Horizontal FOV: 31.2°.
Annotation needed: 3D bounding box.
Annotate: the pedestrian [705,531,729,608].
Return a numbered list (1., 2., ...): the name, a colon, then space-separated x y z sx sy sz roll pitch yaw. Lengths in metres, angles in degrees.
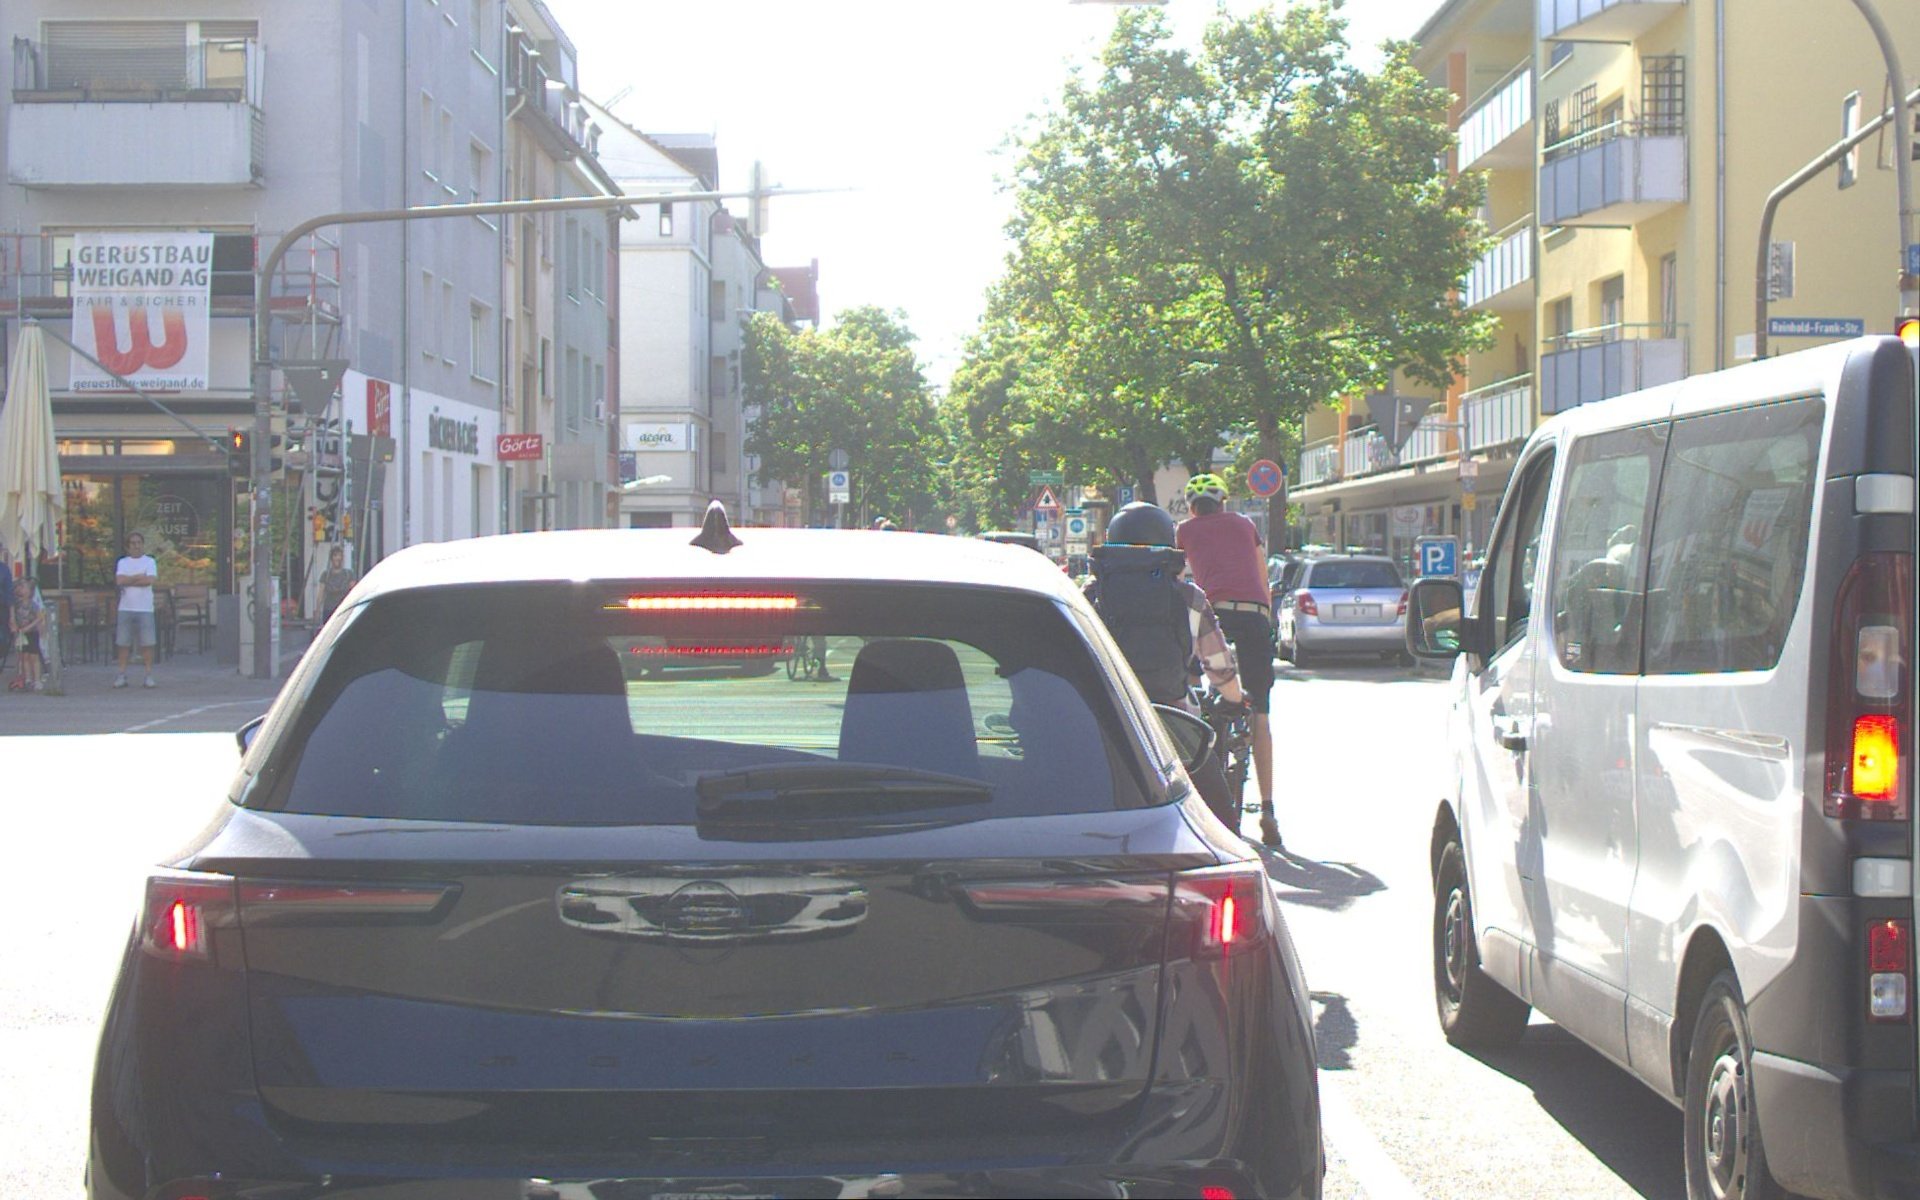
1. pedestrian: -5.339 -0.673 75.505 0.488 1.684 0.588 0 1 -1

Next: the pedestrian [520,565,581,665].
1. pedestrian: -5.189 0.184 43.571 0.707 1.249 0.802 0 1 -2

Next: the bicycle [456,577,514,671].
1. bicycle: -6.067 0.294 43.970 0.521 1.143 2.284 0 1 -2

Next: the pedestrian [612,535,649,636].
1. pedestrian: -5.507 -0.246 57.474 0.570 1.684 0.588 0 1 -1

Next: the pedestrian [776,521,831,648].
1. pedestrian: -1.994 -0.197 43.832 0.680 1.600 0.762 0 1 -2

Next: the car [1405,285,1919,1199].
1. car: 2.463 0.423 8.468 1.993 1.972 4.895 2 1 -1

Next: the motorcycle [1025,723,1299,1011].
1. motorcycle: 0.678 0.905 12.175 0.825 0.842 1.885 0 1 -1

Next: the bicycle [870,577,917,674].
1. bicycle: -0.826 0.297 42.248 0.521 1.143 2.170 0 1 -2

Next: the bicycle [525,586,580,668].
1. bicycle: -5.208 0.335 43.999 0.521 0.989 2.340 0 1 -2

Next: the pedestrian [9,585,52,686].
1. pedestrian: -10.129 0.385 37.464 0.355 1.088 0.462 0 1 -3

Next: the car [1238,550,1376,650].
1. car: 5.202 -0.027 51.930 1.634 1.428 4.000 0 1 -1

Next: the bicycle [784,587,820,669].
1. bicycle: -2.015 0.344 43.959 0.443 0.989 2.069 0 1 -2

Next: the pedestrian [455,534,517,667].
1. pedestrian: -6.002 0.003 43.535 0.707 1.672 0.802 0 1 -2

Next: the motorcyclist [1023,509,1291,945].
1. motorcyclist: 0.688 0.428 12.386 0.864 1.497 1.160 0 1 -2

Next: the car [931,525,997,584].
1. car: 0.115 -1.353 101.390 1.902 1.722 4.000 0 1 0

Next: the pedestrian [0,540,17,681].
1. pedestrian: -10.631 0.108 37.415 0.584 1.516 0.650 0 1 -3

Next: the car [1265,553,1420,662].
1. car: 5.214 0.074 47.255 1.634 1.428 3.957 0 1 -1

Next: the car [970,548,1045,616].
1. car: 1.275 -0.491 90.252 1.902 1.722 4.073 0 1 2

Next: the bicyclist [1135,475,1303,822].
1. bicyclist: 1.307 0.229 17.596 0.689 1.707 1.414 0 1 -2

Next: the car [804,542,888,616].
1. car: -2.723 -0.531 82.969 1.825 1.722 4.000 0 1 1

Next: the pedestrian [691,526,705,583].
1. pedestrian: -7.777 -1.356 102.034 0.402 1.669 0.418 0 1 -1

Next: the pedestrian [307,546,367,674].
1. pedestrian: -7.467 0.115 41.206 0.617 1.516 0.725 0 1 -3

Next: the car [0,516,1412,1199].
1. car: -0.408 0.628 6.259 1.770 1.525 4.001 0 1 -2

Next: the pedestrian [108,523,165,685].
1. pedestrian: -9.112 0.039 38.050 0.561 1.769 0.584 0 1 -9

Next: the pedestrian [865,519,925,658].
1. pedestrian: -0.798 -0.146 42.132 0.707 1.695 0.802 0 1 -2

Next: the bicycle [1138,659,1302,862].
1. bicycle: 1.312 0.793 17.702 0.577 0.901 2.301 0 1 -2
